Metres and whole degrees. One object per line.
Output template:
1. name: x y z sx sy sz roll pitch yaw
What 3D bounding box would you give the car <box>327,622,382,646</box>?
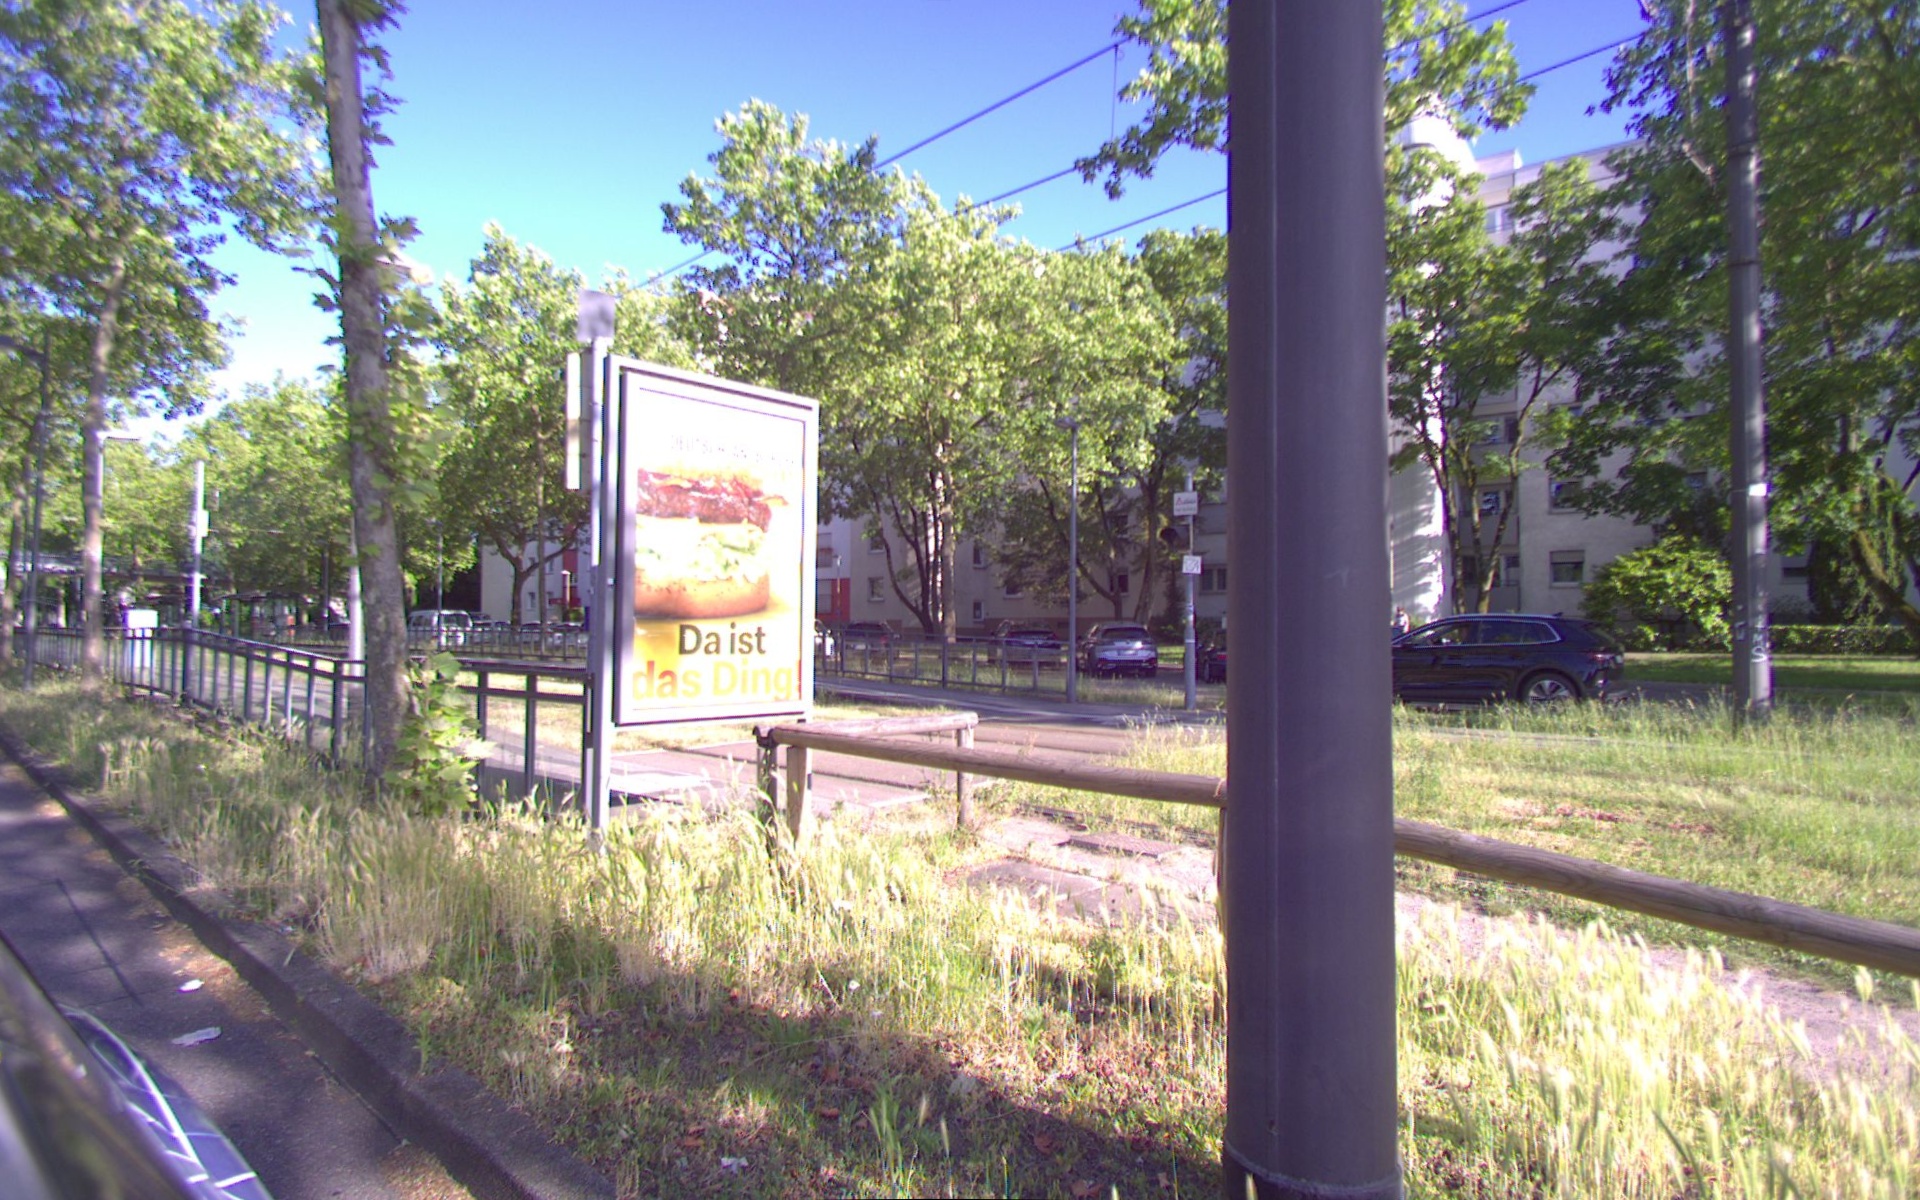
1. car: -40.703 2.272 68.067 1.578 1.582 3.830 0 -1 -3

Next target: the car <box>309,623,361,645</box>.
1. car: -44.865 2.410 72.757 1.578 1.538 3.737 0 -1 -3

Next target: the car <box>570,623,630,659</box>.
1. car: -16.659 1.875 46.985 1.445 1.519 3.393 -1 0 3

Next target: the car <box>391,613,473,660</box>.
1. car: -23.495 1.593 44.948 4.652 2.007 1.772 -2 -2 43

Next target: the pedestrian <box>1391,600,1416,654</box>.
1. pedestrian: 14.876 0.901 33.978 0.634 1.770 0.516 -1 -2 39

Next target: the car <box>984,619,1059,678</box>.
1. car: 1.744 1.363 29.796 1.669 1.499 4.003 -1 0 -4

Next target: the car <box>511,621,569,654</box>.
1. car: -21.178 1.869 51.128 1.539 1.436 3.489 -3 0 -2

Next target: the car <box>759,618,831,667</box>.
1. car: -5.983 1.510 37.082 1.791 1.607 3.997 -1 0 3

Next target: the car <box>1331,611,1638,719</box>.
1. car: 8.346 0.969 16.310 4.100 1.523 1.746 -1 -2 41

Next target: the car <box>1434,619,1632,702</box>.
1. car: 11.542 1.155 20.736 1.685 1.454 3.978 -1 0 -2

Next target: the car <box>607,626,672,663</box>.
1. car: -14.072 1.911 44.576 1.470 1.425 3.880 -1 0 3

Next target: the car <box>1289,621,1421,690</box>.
1. car: 9.084 1.227 23.577 1.553 1.431 3.620 -1 -1 -1

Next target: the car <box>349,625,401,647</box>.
1. car: -37.957 2.311 65.743 1.459 1.330 3.488 0 -1 -1

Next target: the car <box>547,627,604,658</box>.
1. car: -18.742 2.047 49.428 1.459 1.339 3.488 -2 0 -1

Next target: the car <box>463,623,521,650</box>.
1. car: -25.704 1.969 55.675 1.605 1.414 3.488 0 -1 -1

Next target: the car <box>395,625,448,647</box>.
1. car: -33.100 2.214 62.290 1.459 1.311 3.488 0 -1 -1

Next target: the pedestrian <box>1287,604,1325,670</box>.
1. pedestrian: 9.484 1.001 27.741 0.755 1.770 0.752 -2 -2 41

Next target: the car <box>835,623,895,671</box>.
1. car: -3.204 1.564 34.707 1.538 1.439 3.761 -1 0 3

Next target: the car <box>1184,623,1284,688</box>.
1. car: 6.752 1.335 25.316 1.572 1.360 3.922 -1 0 3

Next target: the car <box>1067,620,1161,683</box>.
1. car: 4.126 1.350 27.706 1.650 1.469 4.004 -1 0 -4
